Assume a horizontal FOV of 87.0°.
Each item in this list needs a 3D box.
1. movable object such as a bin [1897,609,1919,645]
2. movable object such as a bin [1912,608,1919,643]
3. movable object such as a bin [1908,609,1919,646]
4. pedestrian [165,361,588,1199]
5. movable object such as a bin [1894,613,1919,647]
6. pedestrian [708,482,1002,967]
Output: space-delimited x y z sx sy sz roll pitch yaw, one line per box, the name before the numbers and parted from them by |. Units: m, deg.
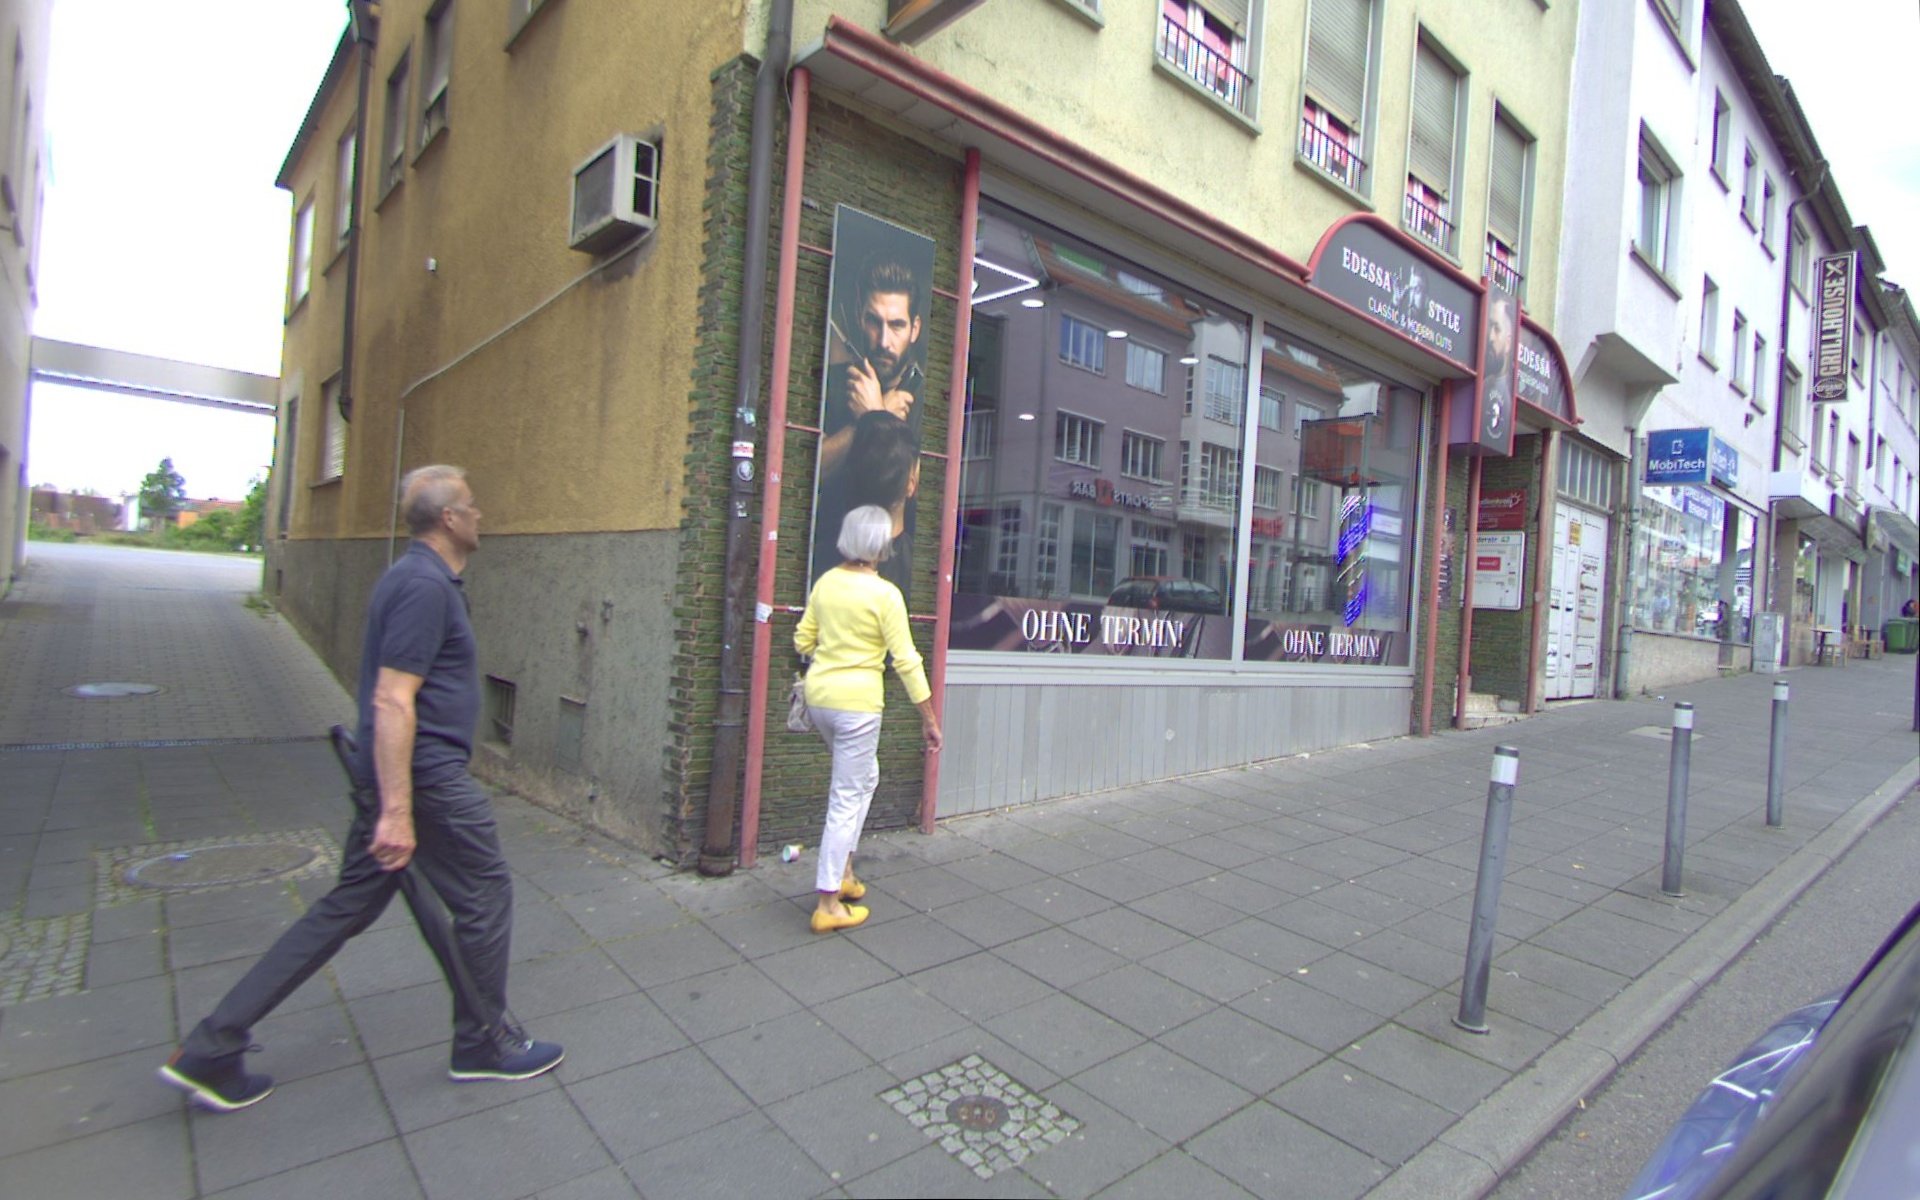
movable object such as a bin | 28.610 0.823 30.344 0.550 1.043 0.670 1 1 -41
movable object such as a bin | 30.180 0.808 31.594 0.564 1.073 0.569 1 1 -41
movable object such as a bin | 29.263 0.853 30.673 0.661 1.094 0.652 1 1 -41
pedestrian | -1.507 0.371 2.588 0.771 1.773 0.713 1 5 -41
movable object such as a bin | 28.124 0.891 29.985 0.490 0.968 0.568 1 1 -41
pedestrian | -0.417 0.403 3.965 0.820 1.651 0.713 1 4 -41
